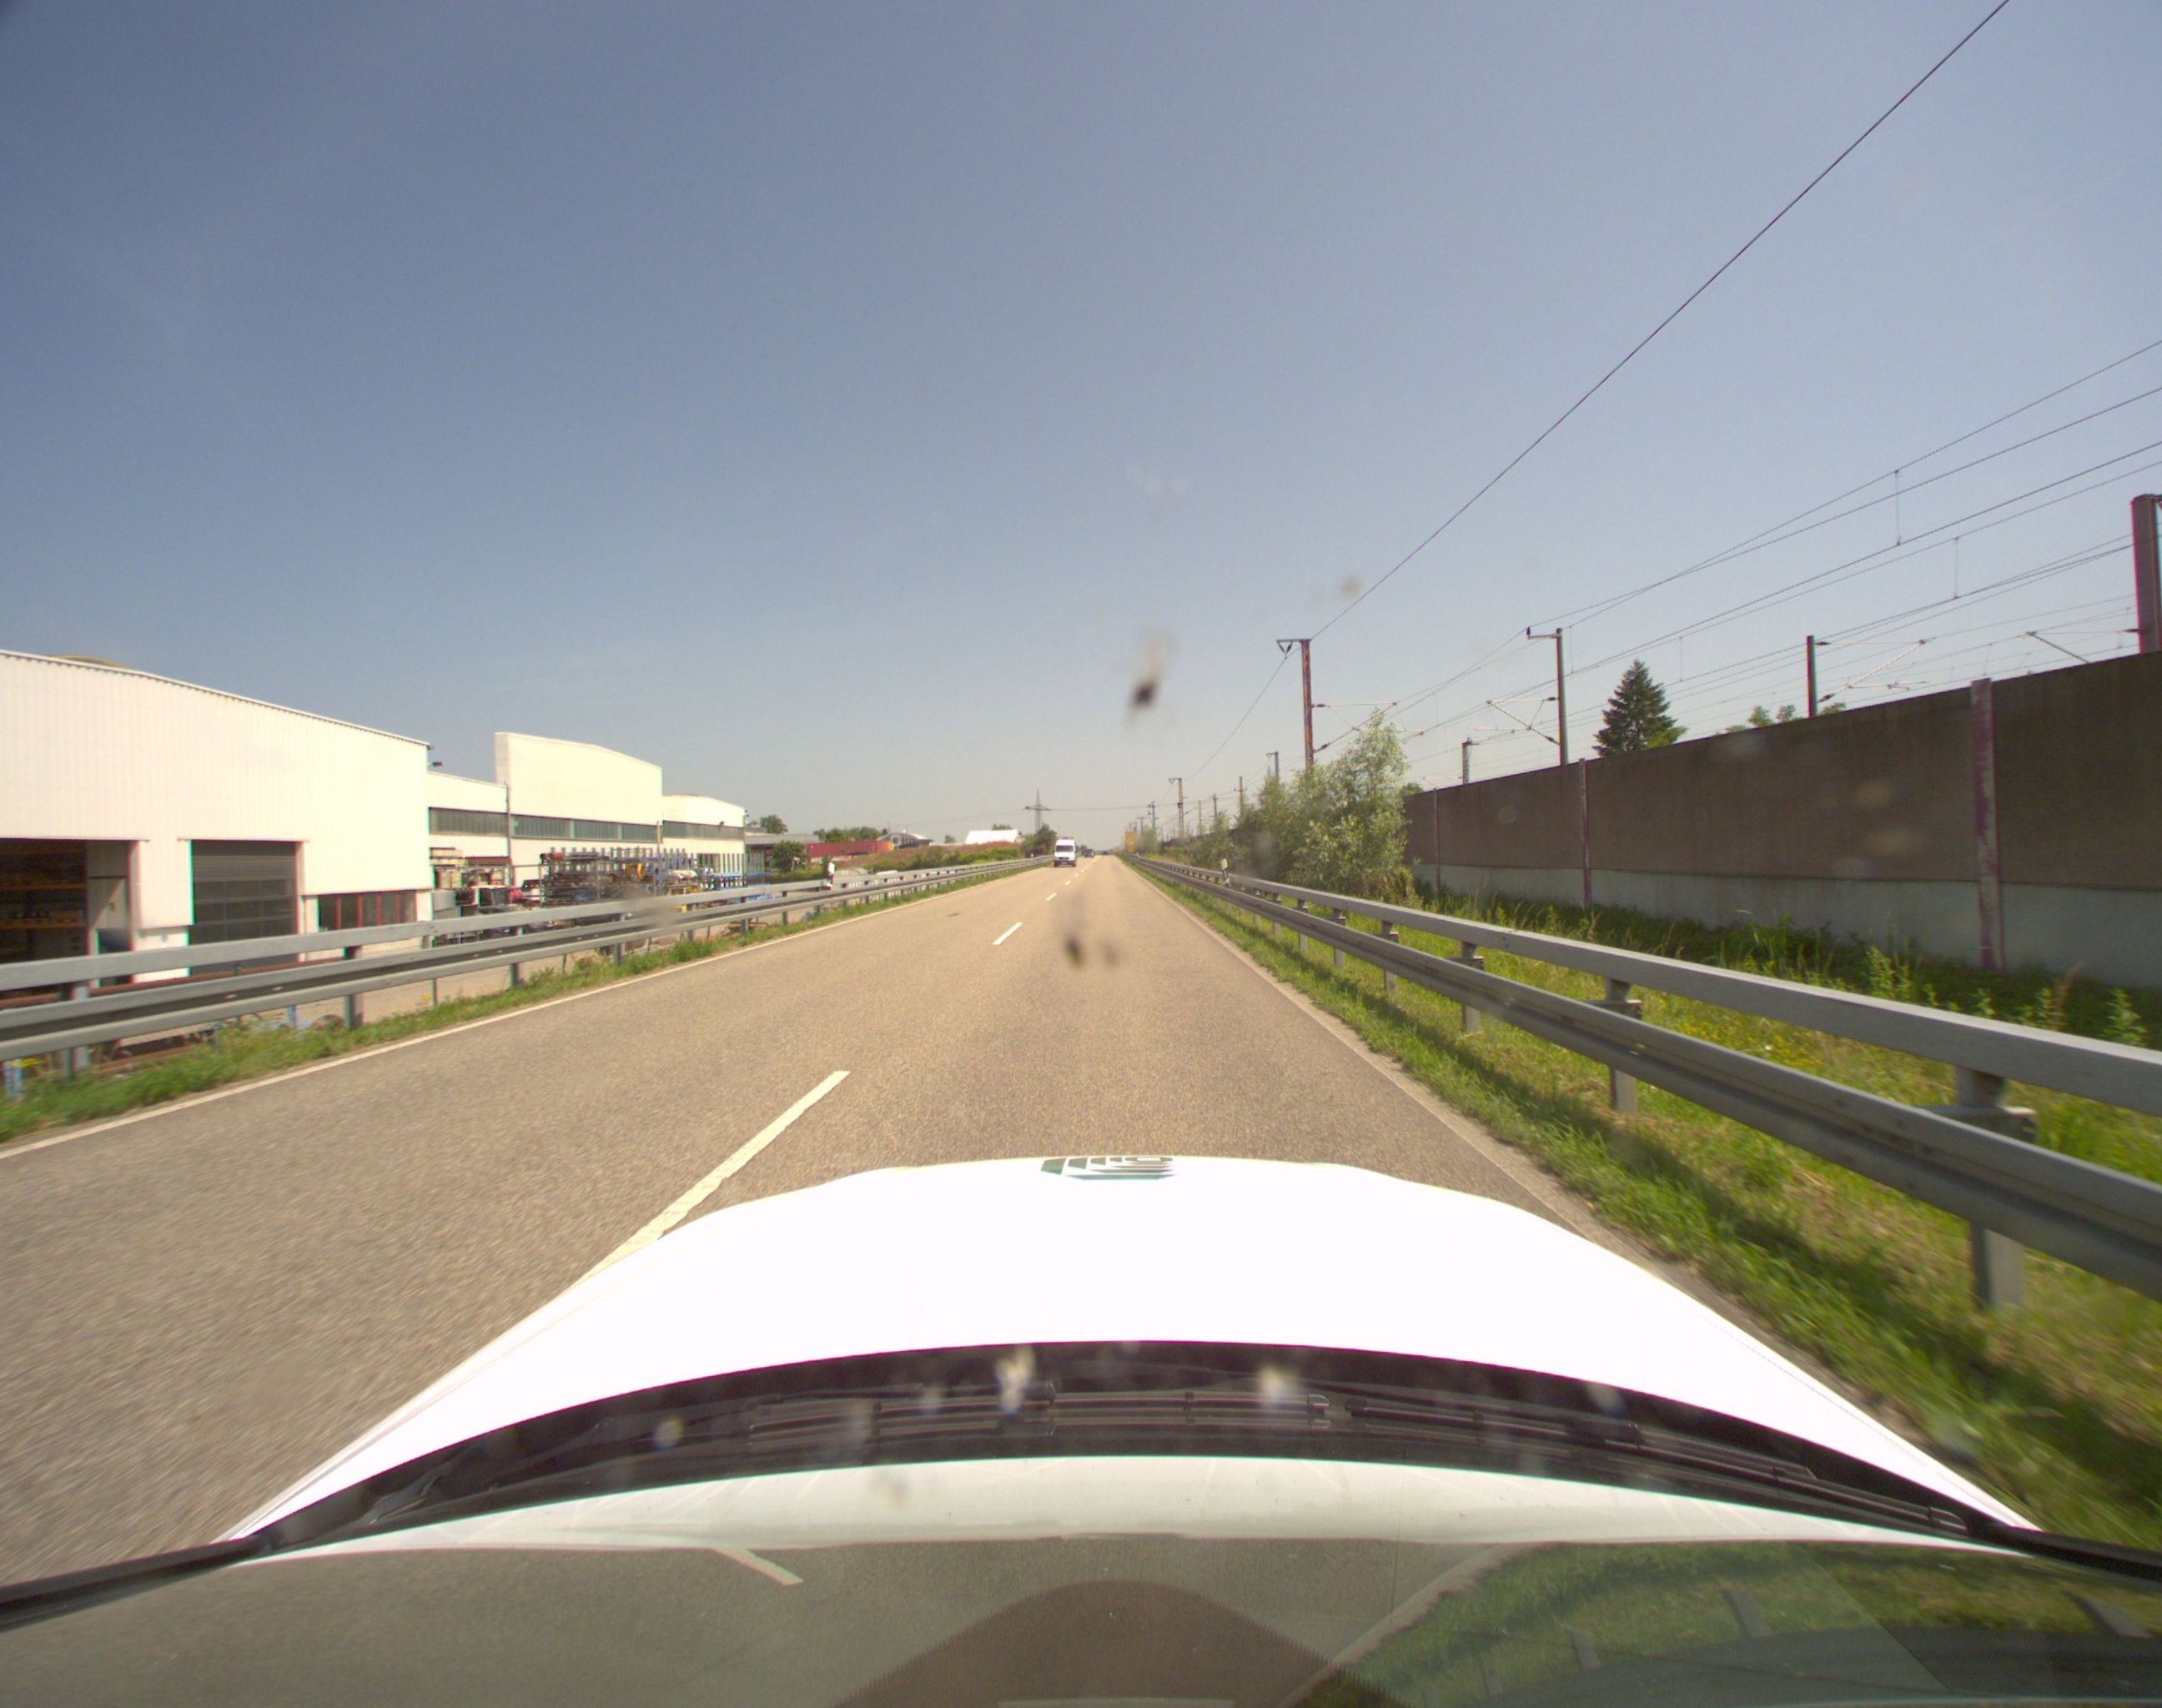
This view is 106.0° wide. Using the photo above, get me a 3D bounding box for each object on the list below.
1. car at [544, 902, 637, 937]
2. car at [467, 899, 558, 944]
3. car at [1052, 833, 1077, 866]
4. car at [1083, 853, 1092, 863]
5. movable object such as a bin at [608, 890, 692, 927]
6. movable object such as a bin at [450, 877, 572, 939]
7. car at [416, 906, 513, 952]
[{"bbox_3d":[-27.143,3.603,45.164,3.980,1.521,1.722,-4,0,-4],"label":"car"},{"bbox_3d":[-28.171,3.344,40.412,3.123,1.773,1.674,-6,0,-2],"label":"car"},{"bbox_3d":[-1.524,-0.397,78.085,2.071,2.962,6.731,0,0,1],"label":"car"},{"bbox_3d":[1.344,0.742,168.211,1.886,2.013,5.371,0,0,1],"label":"car"},{"bbox_3d":[-25.023,3.148,47.374,3.856,2.014,1.848,0,-1,-6],"label":"movable object such as a bin"},{"bbox_3d":[-29.799,2.768,42.702,4.538,2.680,2.128,-6,0,-7],"label":"movable object such as a bin"},{"bbox_3d":[-28.991,3.509,38.369,3.247,1.674,1.465,-6,0,-4],"label":"car"}]
